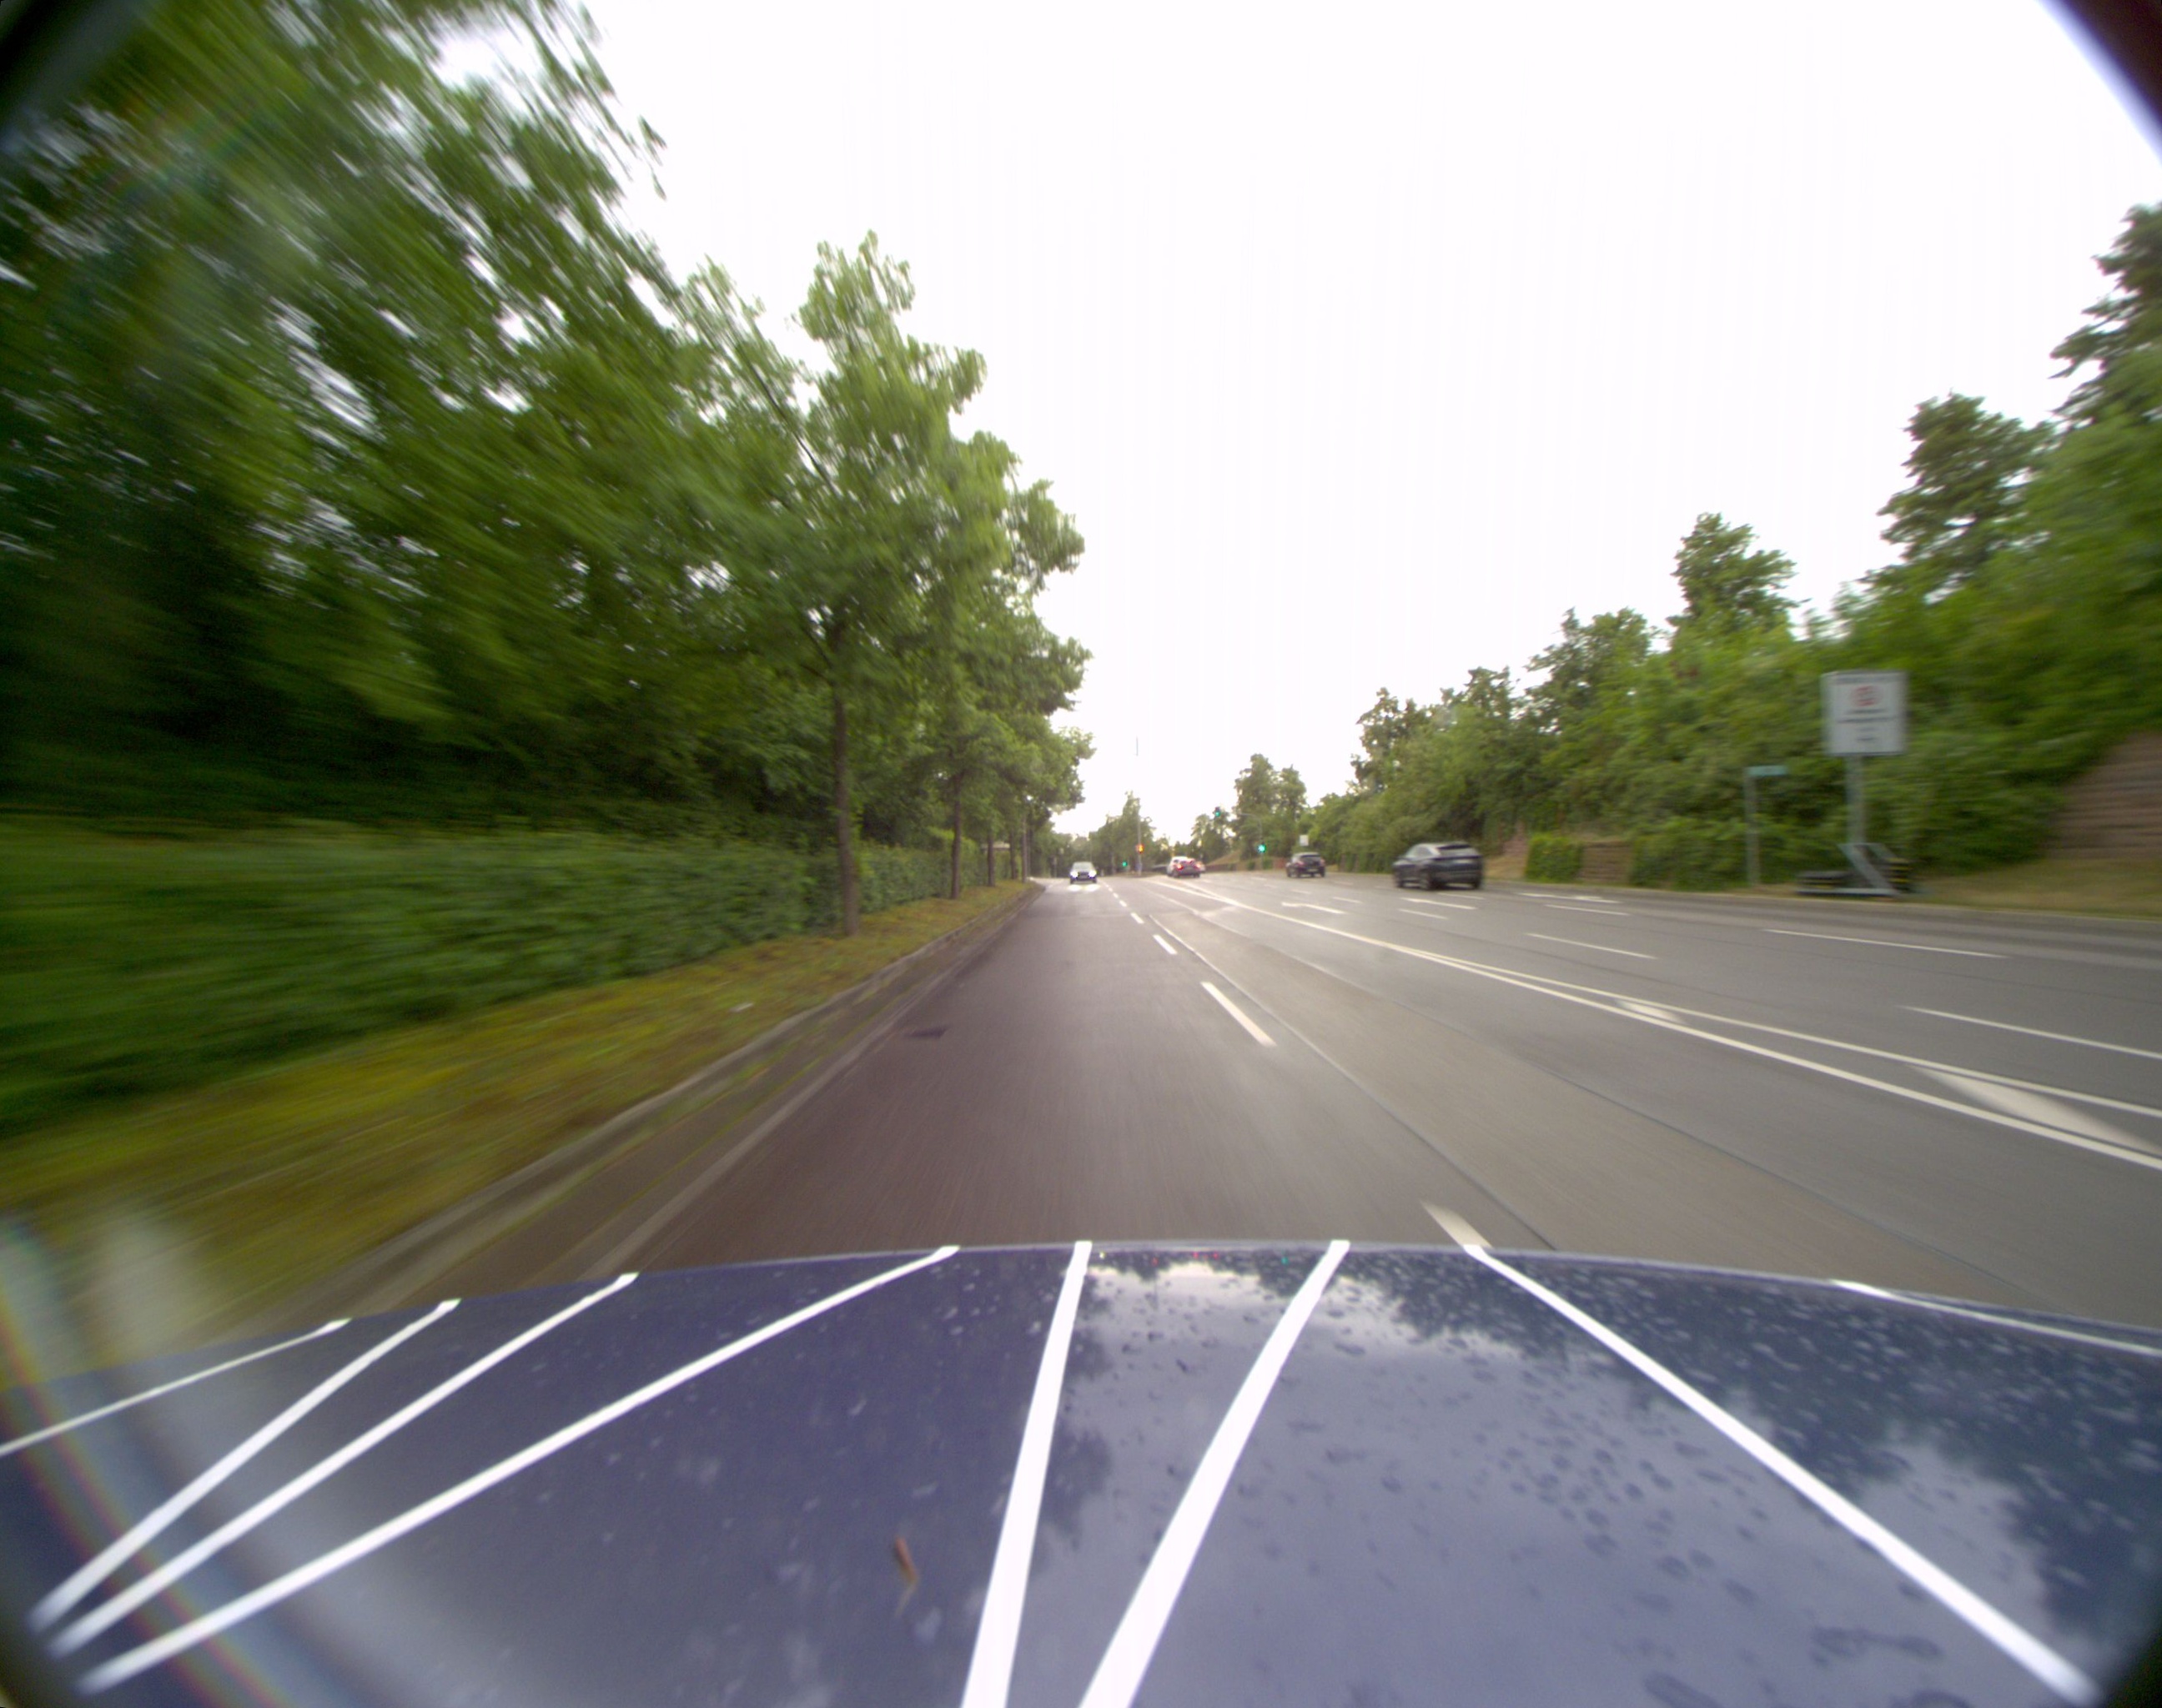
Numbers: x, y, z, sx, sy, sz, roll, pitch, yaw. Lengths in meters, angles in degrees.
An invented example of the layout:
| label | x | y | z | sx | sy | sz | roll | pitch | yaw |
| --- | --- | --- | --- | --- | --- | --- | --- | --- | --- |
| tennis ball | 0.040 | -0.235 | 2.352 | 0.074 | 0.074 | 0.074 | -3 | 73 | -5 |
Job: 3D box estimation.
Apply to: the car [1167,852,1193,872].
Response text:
| label | x | y | z | sx | sy | sz | roll | pitch | yaw |
| --- | --- | --- | --- | --- | --- | --- | --- | --- | --- |
| car | 8.708 | 0.711 | 67.203 | 1.890 | 1.646 | 4.451 | -2 | 0 | 3 |

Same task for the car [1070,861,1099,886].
| label | x | y | z | sx | sy | sz | roll | pitch | yaw |
| --- | --- | --- | --- | --- | --- | --- | --- | --- | --- |
| car | 0.286 | 1.299 | 51.964 | 1.737 | 1.577 | 4.287 | -2 | 0 | 3 |

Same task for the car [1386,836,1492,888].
| label | x | y | z | sx | sy | sz | roll | pitch | yaw |
| --- | --- | --- | --- | --- | --- | --- | --- | --- | --- |
| car | 12.546 | 0.278 | 26.968 | 1.804 | 1.597 | 4.429 | -3 | 0 | 3 |

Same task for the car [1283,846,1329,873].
| label | x | y | z | sx | sy | sz | roll | pitch | yaw |
| --- | --- | --- | --- | --- | --- | --- | --- | --- | --- |
| car | 13.422 | 0.327 | 45.567 | 1.678 | 1.459 | 3.862 | -3 | 0 | 2 |

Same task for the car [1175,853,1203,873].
| label | x | y | z | sx | sy | sz | roll | pitch | yaw |
| --- | --- | --- | --- | --- | --- | --- | --- | --- | --- |
| car | 8.382 | 0.697 | 59.263 | 1.781 | 1.459 | 3.998 | -2 | 0 | 3 |

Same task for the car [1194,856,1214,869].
| label | x | y | z | sx | sy | sz | roll | pitch | yaw |
| --- | --- | --- | --- | --- | --- | --- | --- | --- | --- |
| car | 16.558 | 1.200 | 102.321 | 1.891 | 1.646 | 4.450 | -2 | 0 | 0 |
